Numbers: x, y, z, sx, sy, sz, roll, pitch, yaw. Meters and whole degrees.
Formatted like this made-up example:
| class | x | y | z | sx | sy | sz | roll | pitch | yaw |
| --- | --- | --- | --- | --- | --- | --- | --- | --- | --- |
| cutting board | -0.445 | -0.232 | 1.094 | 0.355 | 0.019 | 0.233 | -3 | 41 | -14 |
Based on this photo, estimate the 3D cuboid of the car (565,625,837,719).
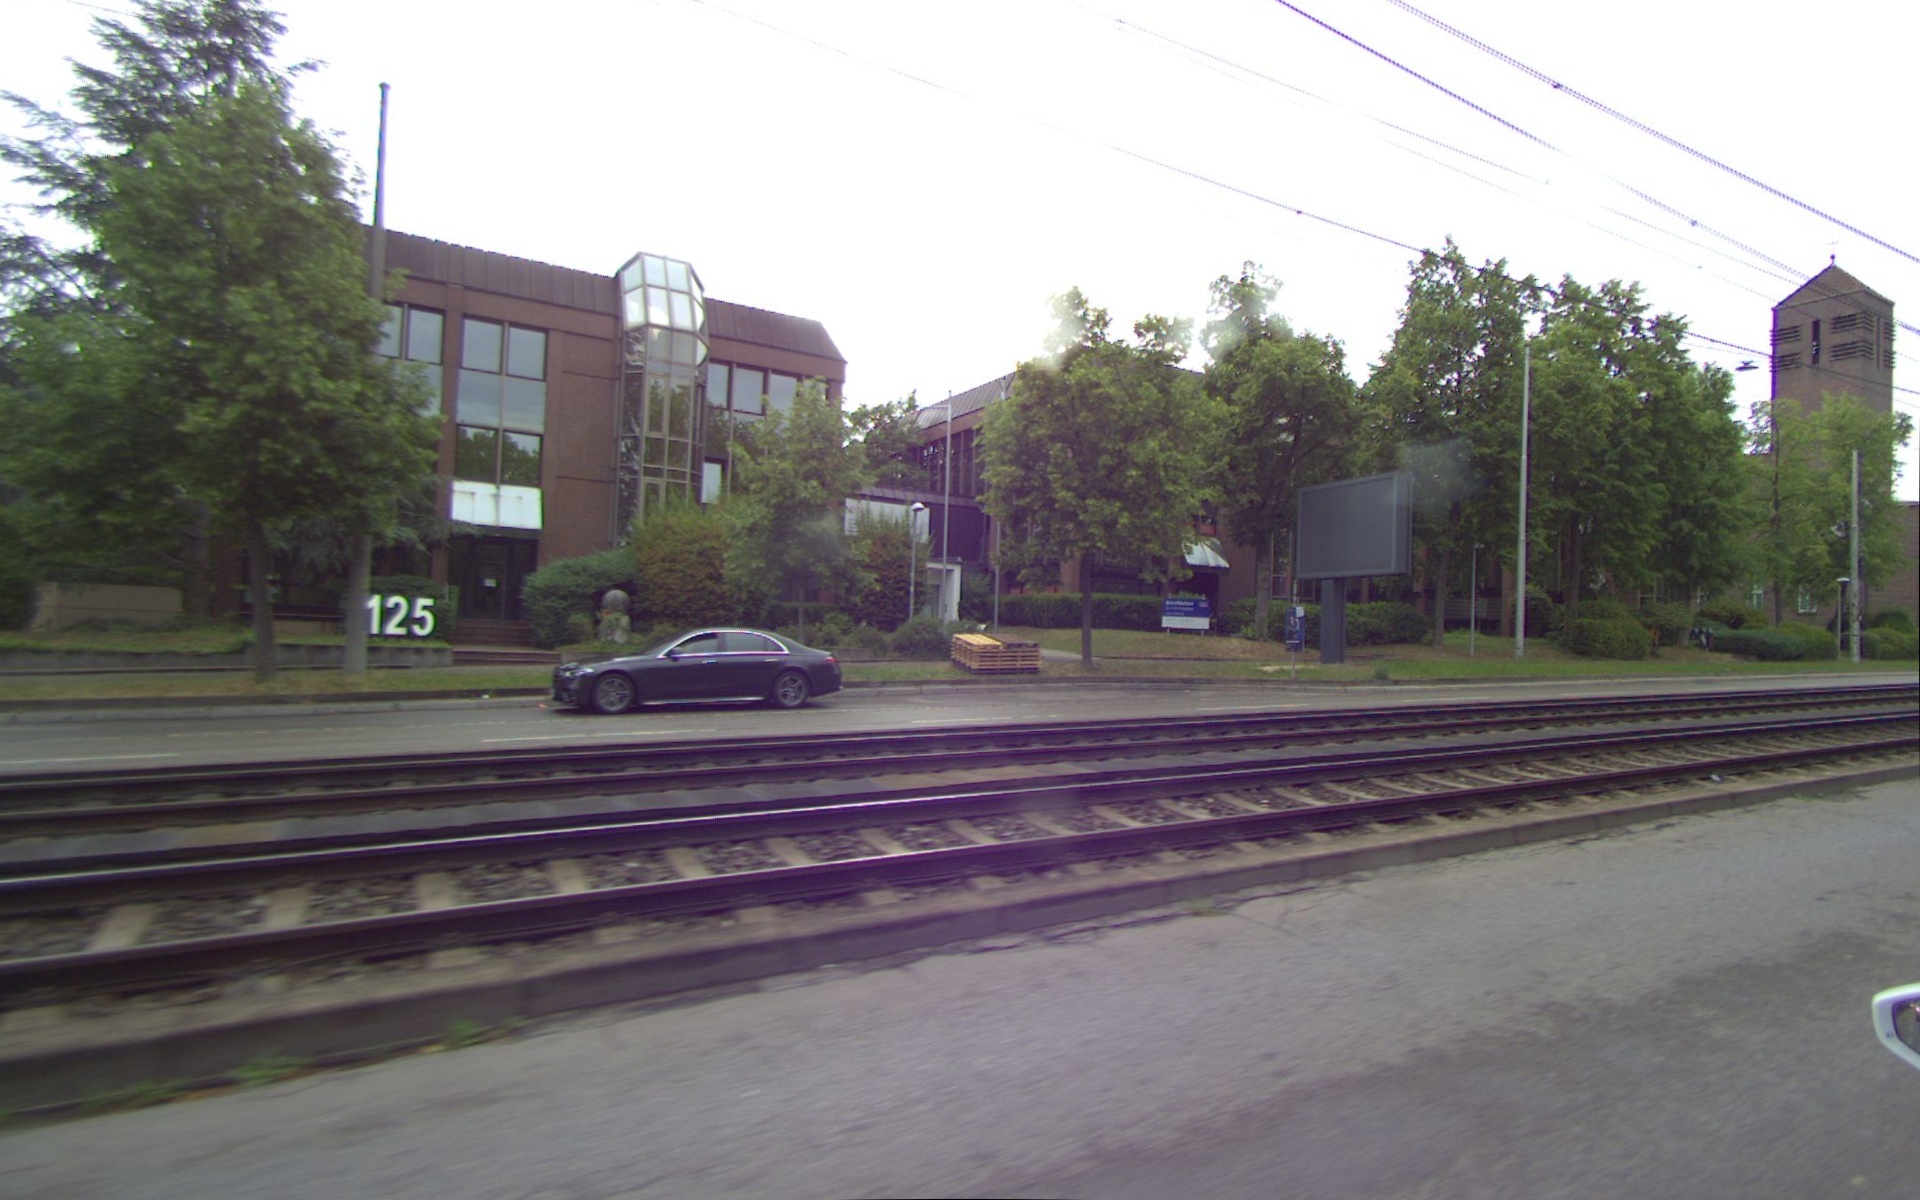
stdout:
| class | x | y | z | sx | sy | sz | roll | pitch | yaw |
| --- | --- | --- | --- | --- | --- | --- | --- | --- | --- |
| car | -4.733 | 1.253 | 18.527 | 4.565 | 1.550 | 1.787 | 1 | -1 | -29 |
